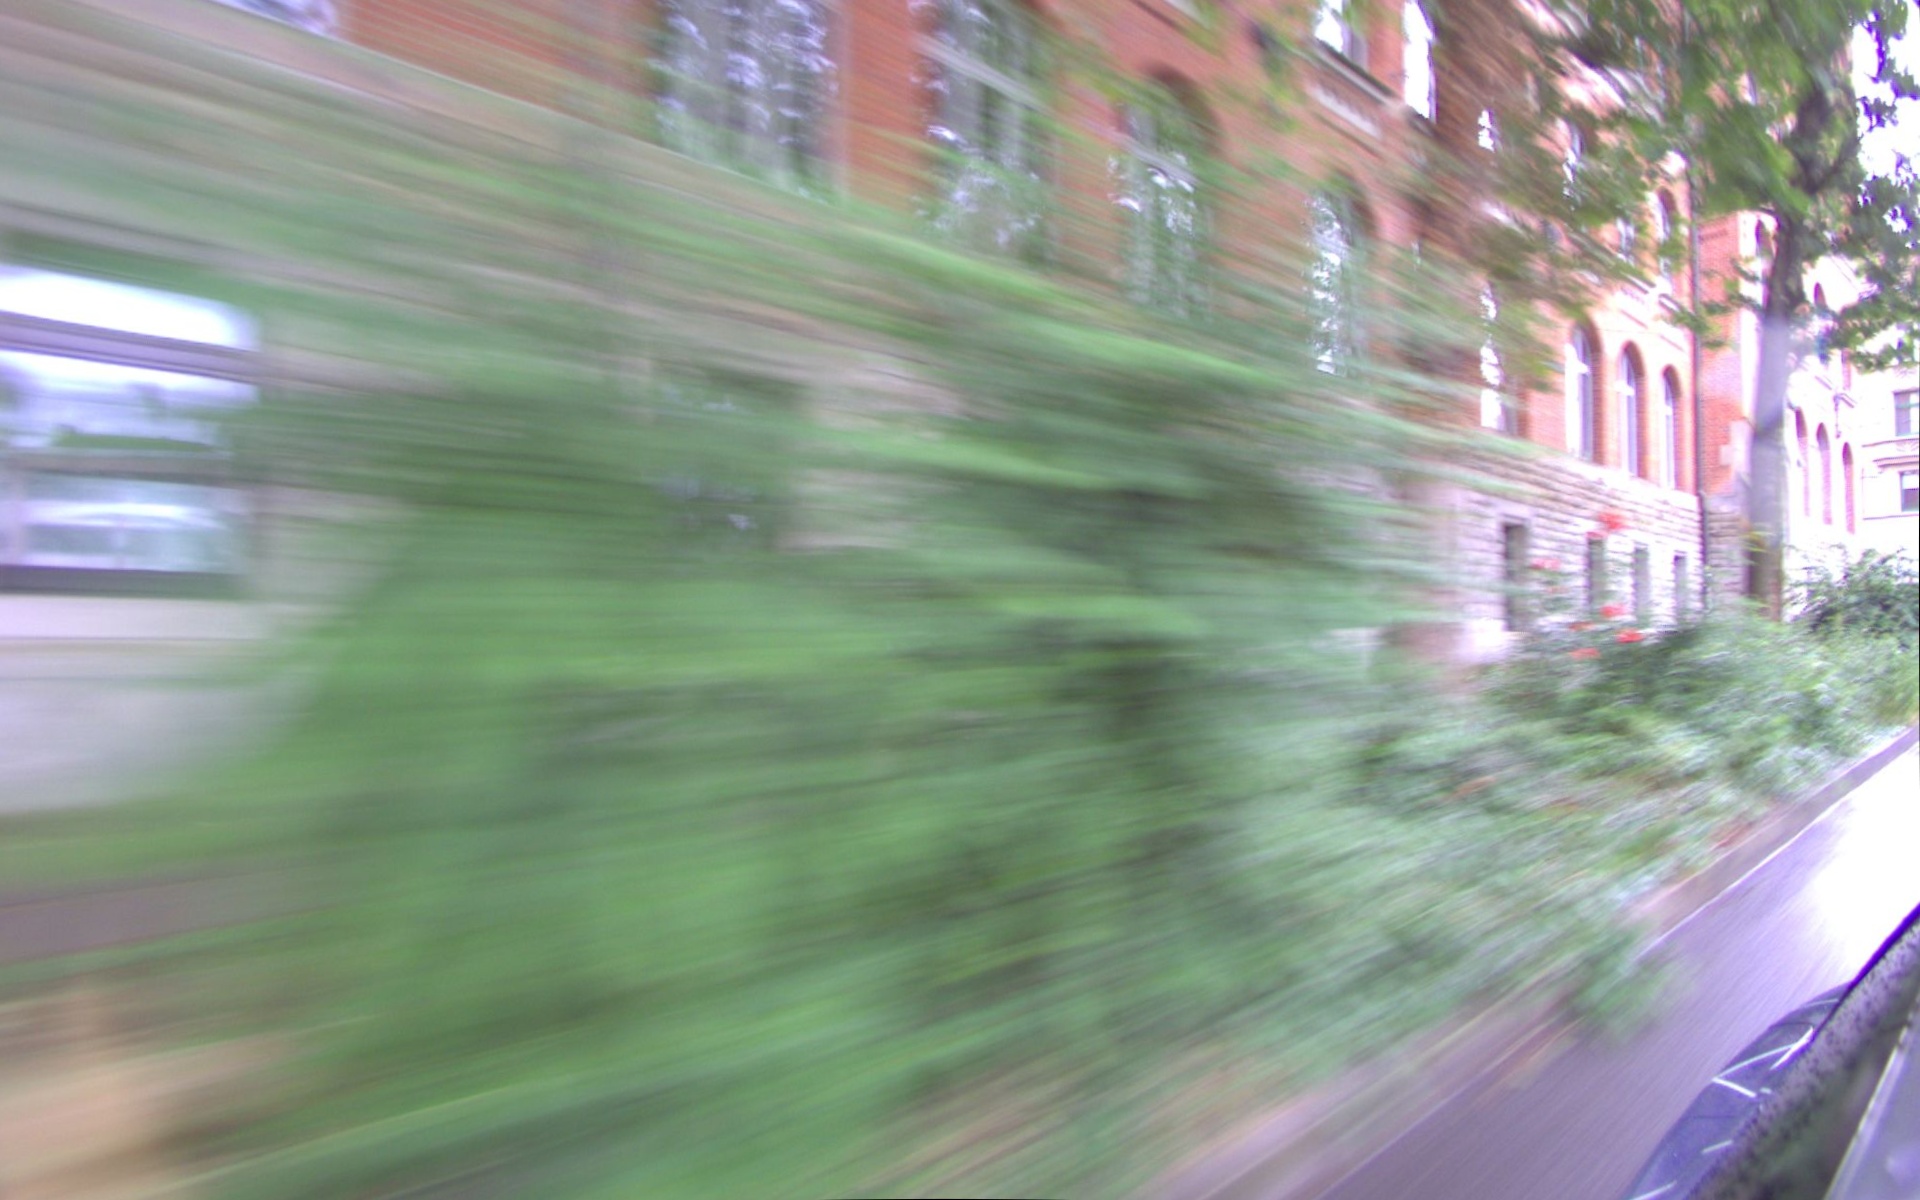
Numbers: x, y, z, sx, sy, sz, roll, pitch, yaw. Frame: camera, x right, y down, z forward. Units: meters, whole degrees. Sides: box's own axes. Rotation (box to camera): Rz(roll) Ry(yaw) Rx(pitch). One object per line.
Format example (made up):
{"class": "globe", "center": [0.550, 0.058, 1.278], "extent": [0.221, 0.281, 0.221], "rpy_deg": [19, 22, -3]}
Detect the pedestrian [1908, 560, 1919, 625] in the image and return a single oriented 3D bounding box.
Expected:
{"class": "pedestrian", "center": [28.656, -0.204, 29.810], "extent": [1.054, 1.911, 0.960], "rpy_deg": [2, -1, -40]}
